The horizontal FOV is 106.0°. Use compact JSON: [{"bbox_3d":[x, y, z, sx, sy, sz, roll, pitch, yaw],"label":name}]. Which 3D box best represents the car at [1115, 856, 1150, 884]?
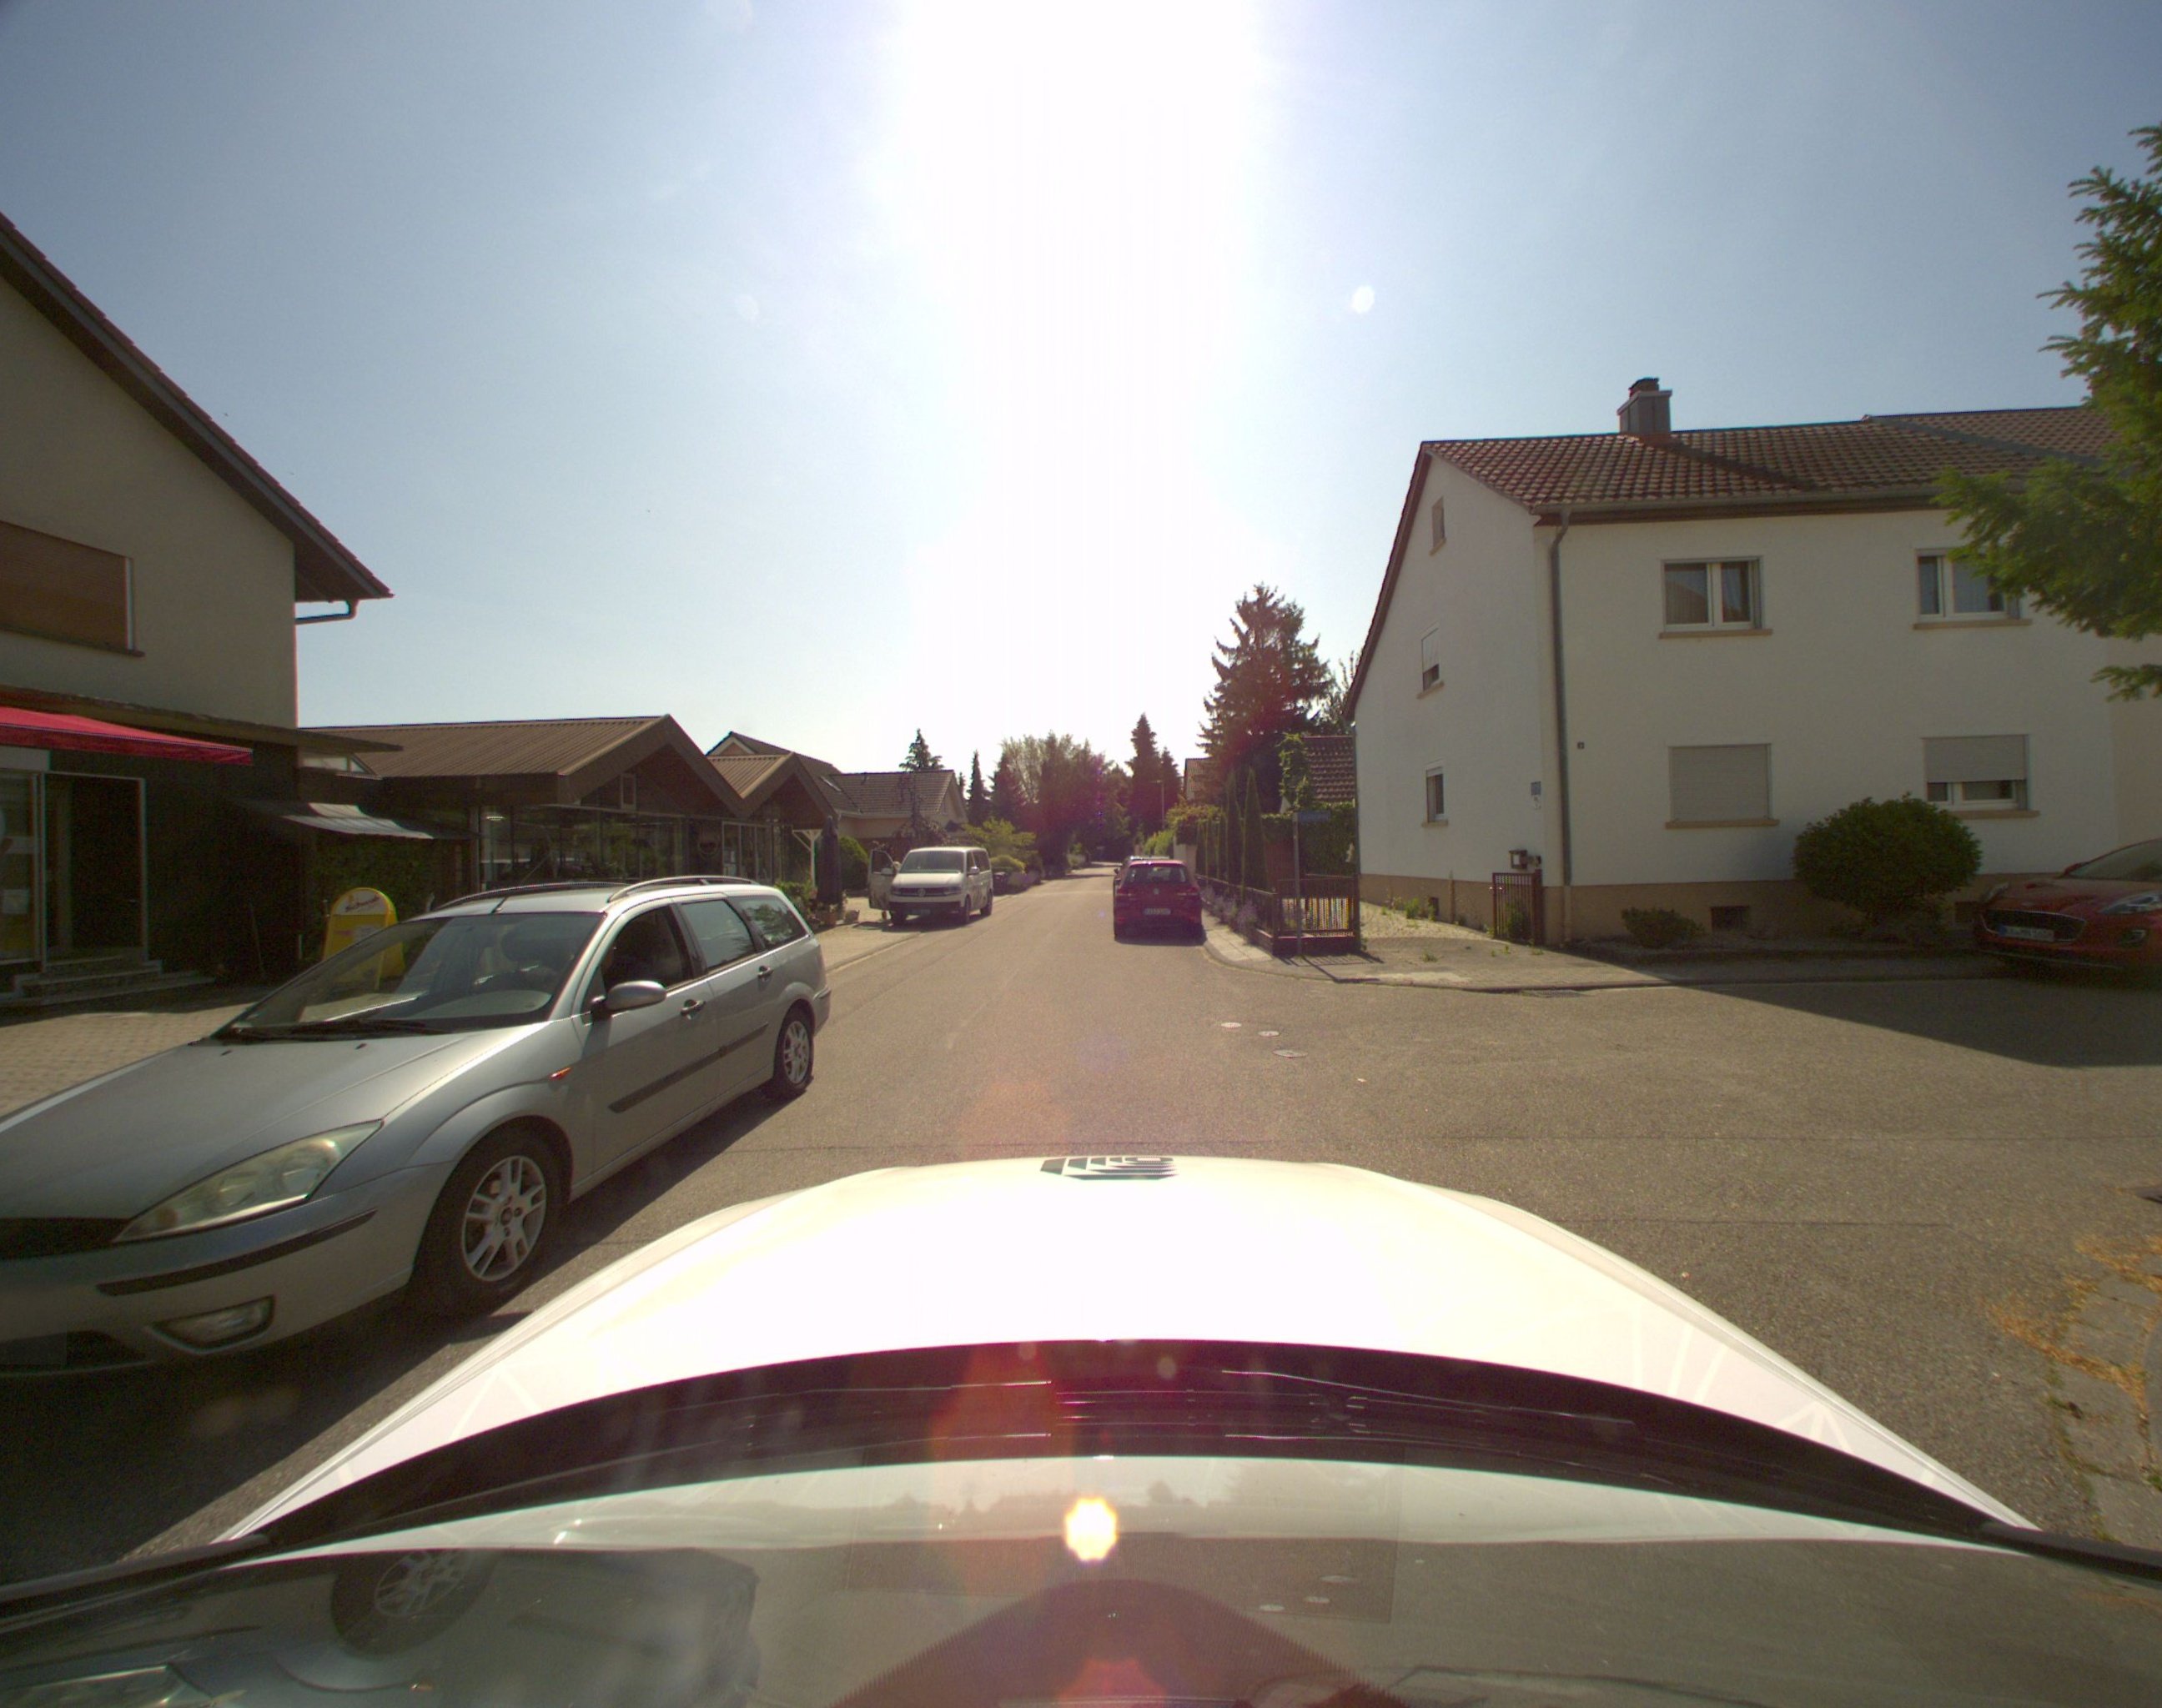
[{"bbox_3d":[2.635,0.806,42.501,1.696,1.399,4.001,-1,0,1],"label":"car"}]

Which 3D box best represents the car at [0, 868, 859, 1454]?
[{"bbox_3d":[-2.843,0.902,4.416,1.745,1.487,4.379,-4,0,3],"label":"car"}]

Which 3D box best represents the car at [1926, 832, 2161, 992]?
[{"bbox_3d":[11.957,0.516,8.680,3.971,1.530,1.798,-1,0,1],"label":"car"}]

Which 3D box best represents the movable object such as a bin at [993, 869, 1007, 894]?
[{"bbox_3d":[-3.525,1.187,35.376,0.492,1.024,0.448,-2,0,2],"label":"movable object such as a bin"}]

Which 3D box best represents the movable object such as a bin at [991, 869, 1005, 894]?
[{"bbox_3d":[-3.567,1.171,34.904,0.492,1.024,0.448,-2,0,2],"label":"movable object such as a bin"}]

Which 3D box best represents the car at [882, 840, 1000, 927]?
[{"bbox_3d":[-3.563,0.719,21.772,1.920,2.014,4.901,-2,0,4],"label":"car"}]

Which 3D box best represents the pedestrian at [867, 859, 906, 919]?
[{"bbox_3d":[-5.162,0.914,21.620,0.710,1.538,0.646,-1,0,36],"label":"pedestrian"}]

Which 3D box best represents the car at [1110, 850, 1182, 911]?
[{"bbox_3d":[1.824,0.732,24.020,1.816,1.615,3.999,-1,0,0],"label":"car"}]

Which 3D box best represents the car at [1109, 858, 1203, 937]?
[{"bbox_3d":[1.621,0.815,17.281,1.766,1.479,4.007,0,0,6],"label":"car"}]
